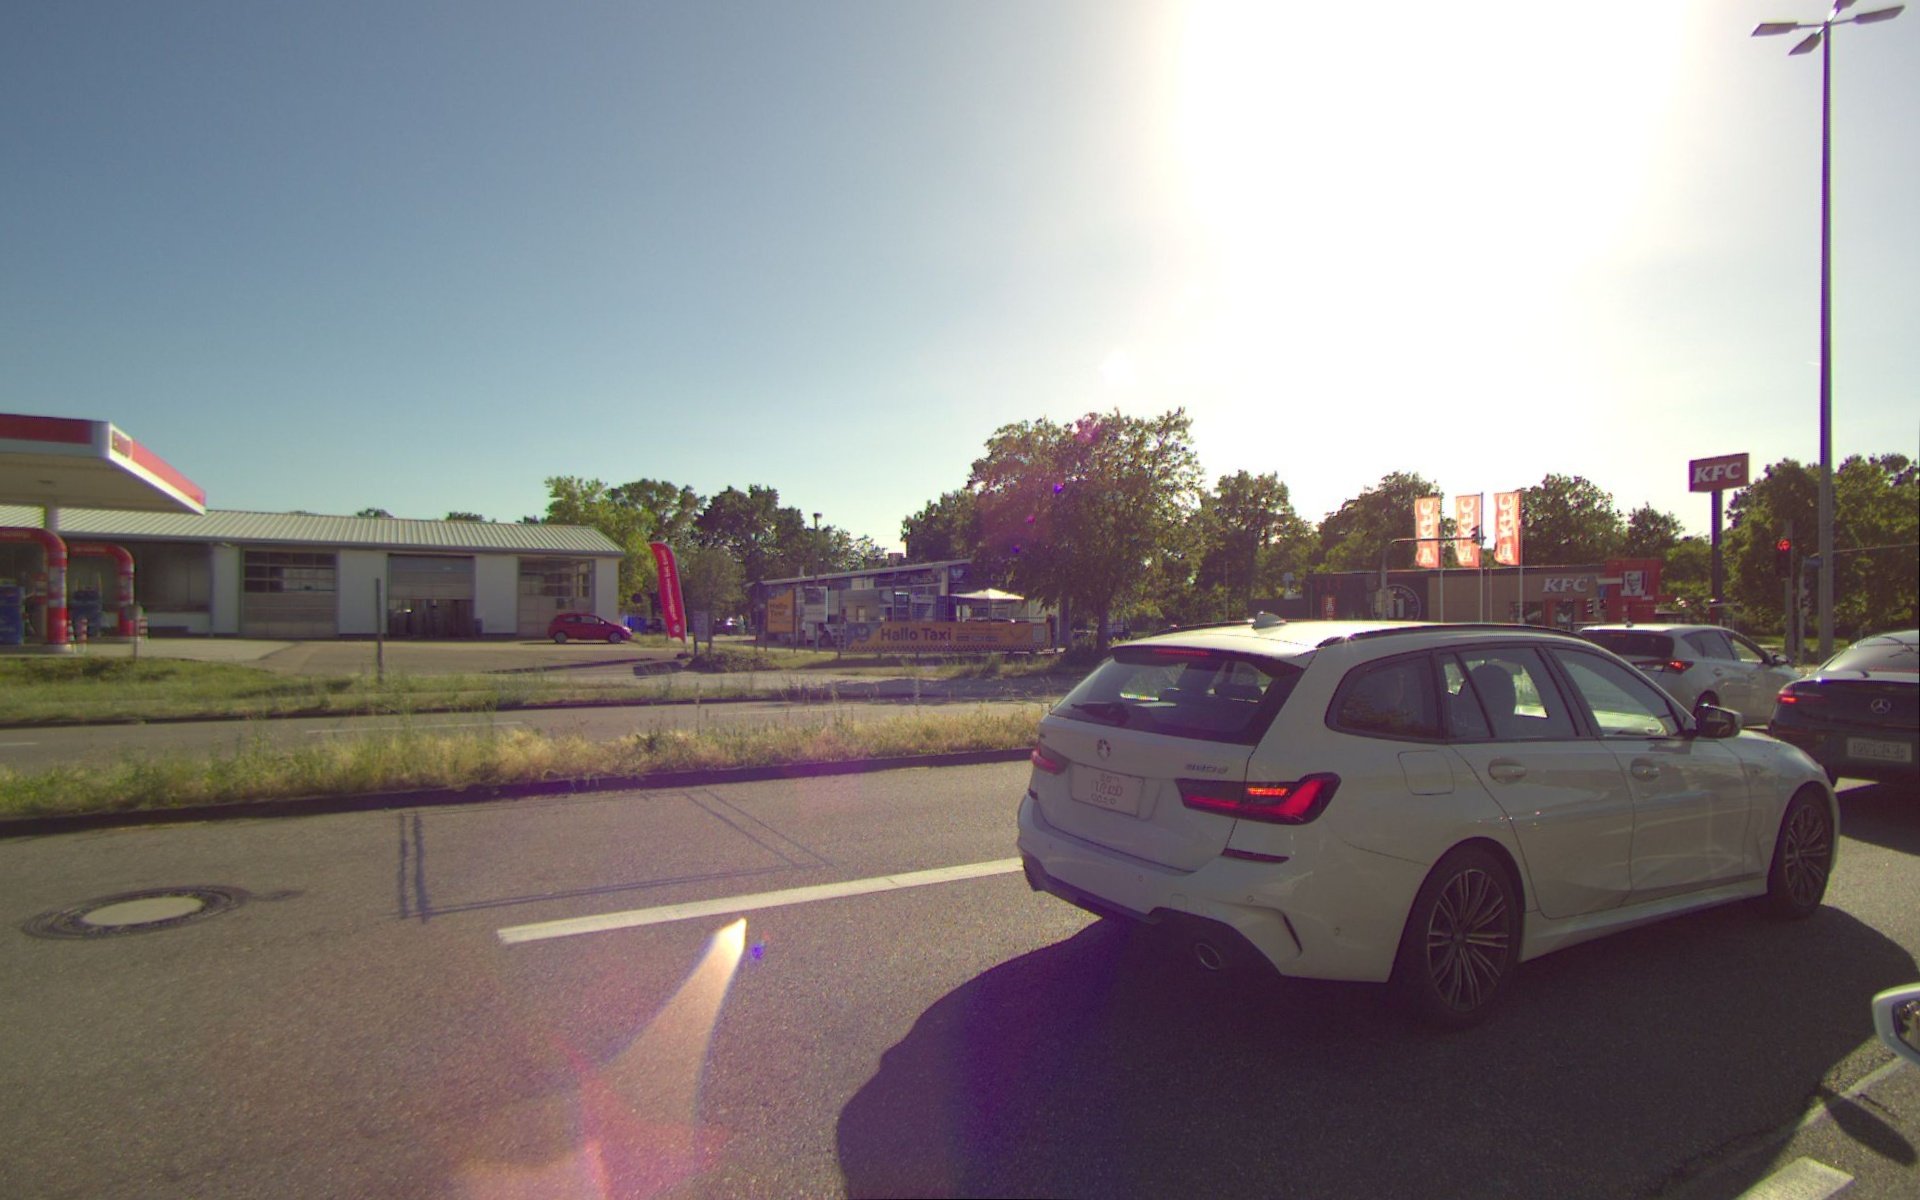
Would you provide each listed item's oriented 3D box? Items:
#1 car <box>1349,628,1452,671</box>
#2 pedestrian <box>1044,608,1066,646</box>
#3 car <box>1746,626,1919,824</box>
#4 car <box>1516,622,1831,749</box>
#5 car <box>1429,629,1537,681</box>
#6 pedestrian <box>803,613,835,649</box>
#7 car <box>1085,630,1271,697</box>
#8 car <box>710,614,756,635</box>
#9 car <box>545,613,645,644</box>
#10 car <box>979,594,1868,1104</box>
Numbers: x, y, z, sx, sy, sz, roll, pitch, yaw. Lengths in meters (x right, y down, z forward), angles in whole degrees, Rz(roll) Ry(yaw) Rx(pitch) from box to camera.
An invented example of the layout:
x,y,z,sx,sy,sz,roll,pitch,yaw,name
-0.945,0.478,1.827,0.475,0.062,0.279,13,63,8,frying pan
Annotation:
x,y,z,sx,sy,sz,roll,pitch,yaw,name
19.173,2.110,43.859,1.735,1.751,3.974,1,-1,-26,car
4.662,1.310,49.195,0.804,1.828,0.951,1,0,-13,pedestrian
8.802,0.958,8.625,4.409,1.433,1.760,1,-1,-30,car
9.637,1.036,13.490,4.352,1.448,1.848,1,-1,-30,car
16.430,1.674,31.437,1.837,1.448,4.709,0,-1,42,car
-7.023,1.530,50.124,1.139,1.787,1.098,0,-1,30,pedestrian
5.148,1.463,23.745,3.993,1.448,1.815,1,-3,-23,car
-19.919,2.135,88.261,2.085,1.840,4.000,0,-1,20,car
-18.014,1.418,49.555,4.486,1.458,1.741,1,-1,-26,car
2.424,0.790,4.905,4.409,1.529,1.760,1,-1,-30,car
